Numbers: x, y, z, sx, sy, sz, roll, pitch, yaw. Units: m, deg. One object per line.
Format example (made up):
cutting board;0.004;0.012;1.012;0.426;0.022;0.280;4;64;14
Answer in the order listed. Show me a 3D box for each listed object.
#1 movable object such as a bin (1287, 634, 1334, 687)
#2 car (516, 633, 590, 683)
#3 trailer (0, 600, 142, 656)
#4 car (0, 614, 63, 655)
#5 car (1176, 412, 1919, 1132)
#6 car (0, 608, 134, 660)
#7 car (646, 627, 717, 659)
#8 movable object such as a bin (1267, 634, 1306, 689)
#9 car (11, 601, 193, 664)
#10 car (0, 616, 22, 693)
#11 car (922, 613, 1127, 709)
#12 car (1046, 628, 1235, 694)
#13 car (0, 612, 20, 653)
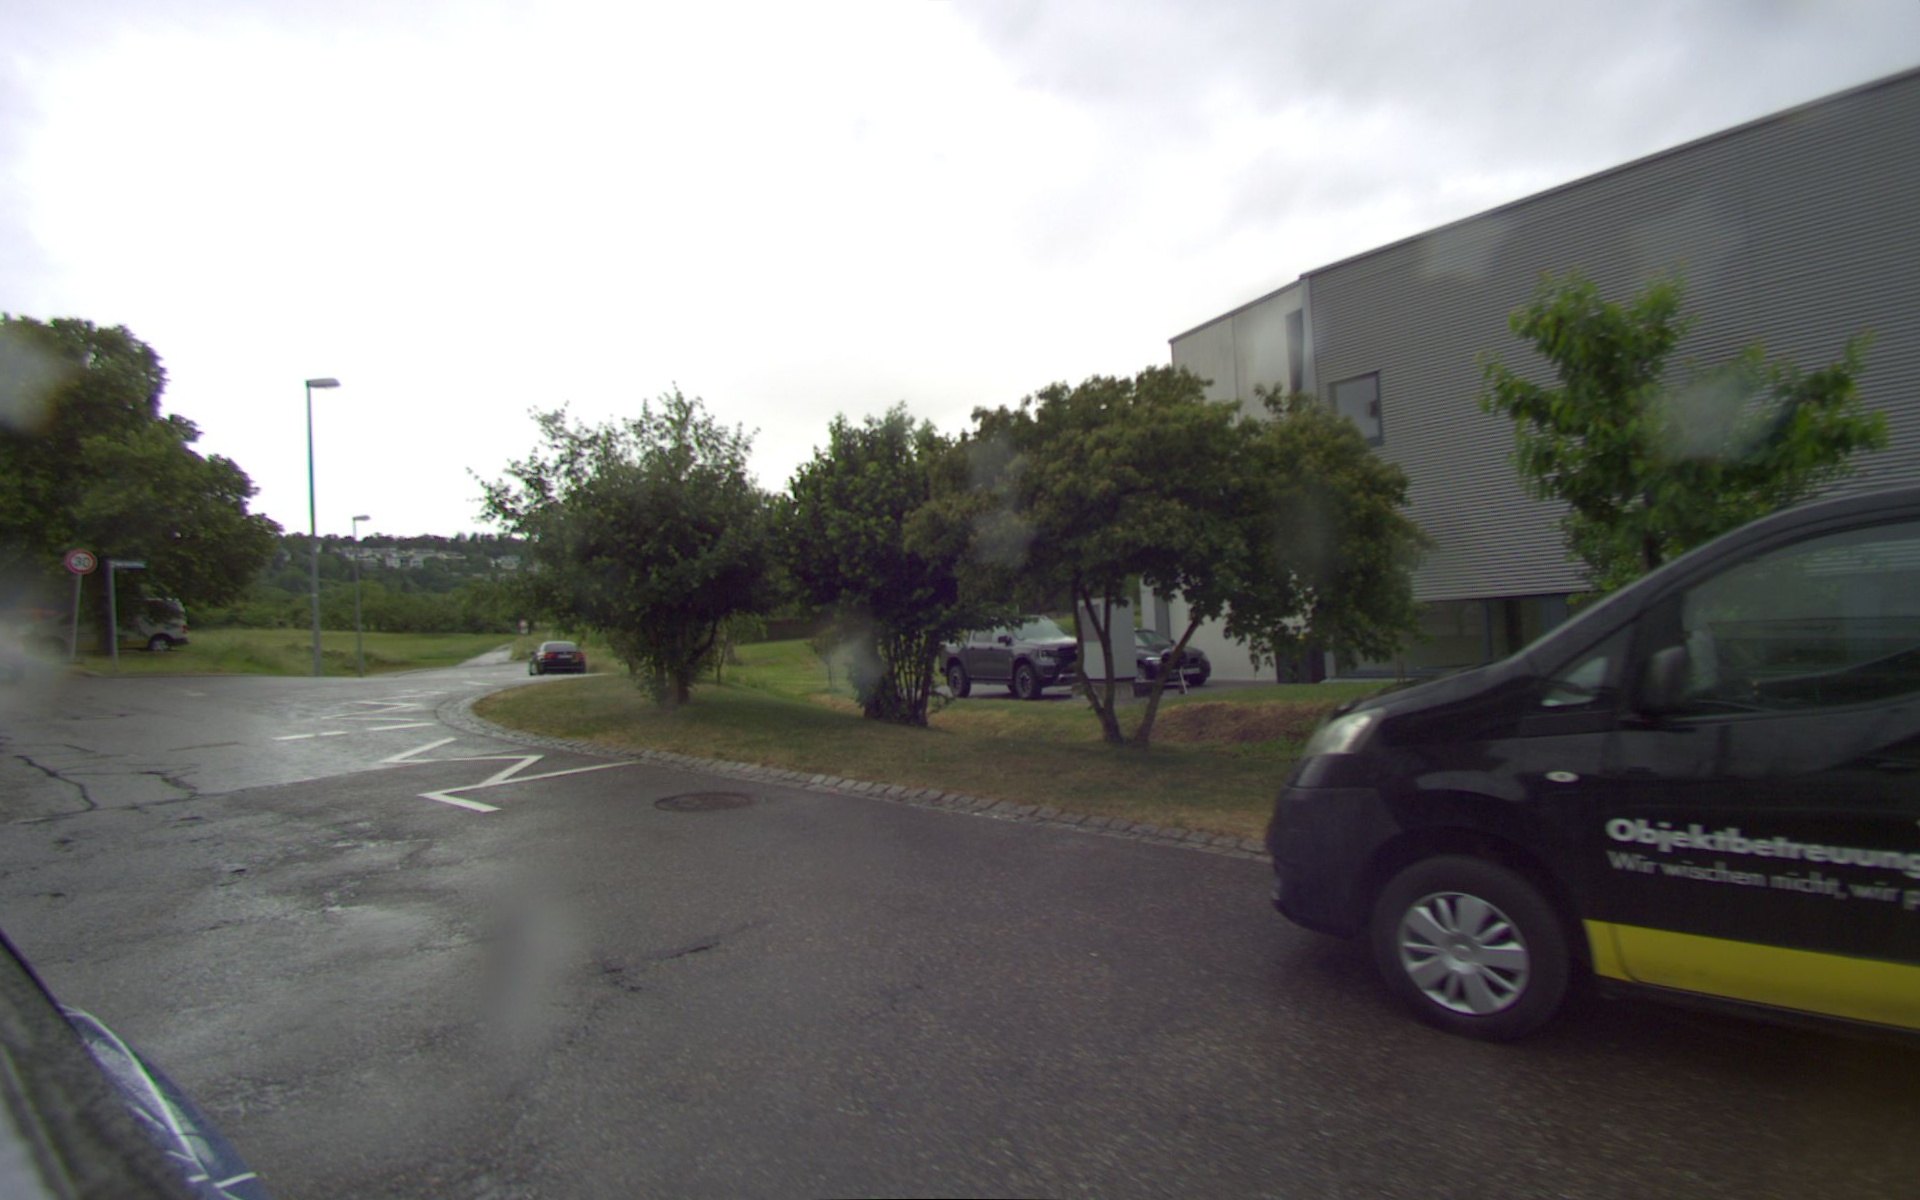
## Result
movable object such as a bin;7.422;1.281;21.461;0.626;1.105;0.676;1;-3;-25
car;-16.112;2.325;39.937;1.966;1.767;4.395;1;-6;-32
trailer;-33.579;1.024;37.967;1.770;1.999;4.175;-1;-1;35
car;-40.242;1.477;41.708;1.802;1.601;4.577;-1;1;35
car;3.306;0.438;3.122;4.843;1.845;1.896;-1;-1;40
car;-31.852;1.159;35.462;1.750;1.735;4.163;0;-1;32
car;-19.893;3.113;72.341;4.427;2.237;1.935;2;-3;-33
movable object such as a bin;7.100;1.324;22.003;0.547;1.175;0.569;1;-3;-25
car;-27.582;1.011;32.644;1.861;1.920;4.255;-1;-1;41
car;-21.042;1.117;21.143;3.933;1.520;1.729;0;0;41
car;1.319;1.433;23.893;2.099;1.936;5.627;-1;-3;-28
car;4.167;1.390;24.239;1.965;1.407;4.705;1;-2;-28
car;-42.720;1.432;42.825;2.022;1.734;4.037;-1;1;37
